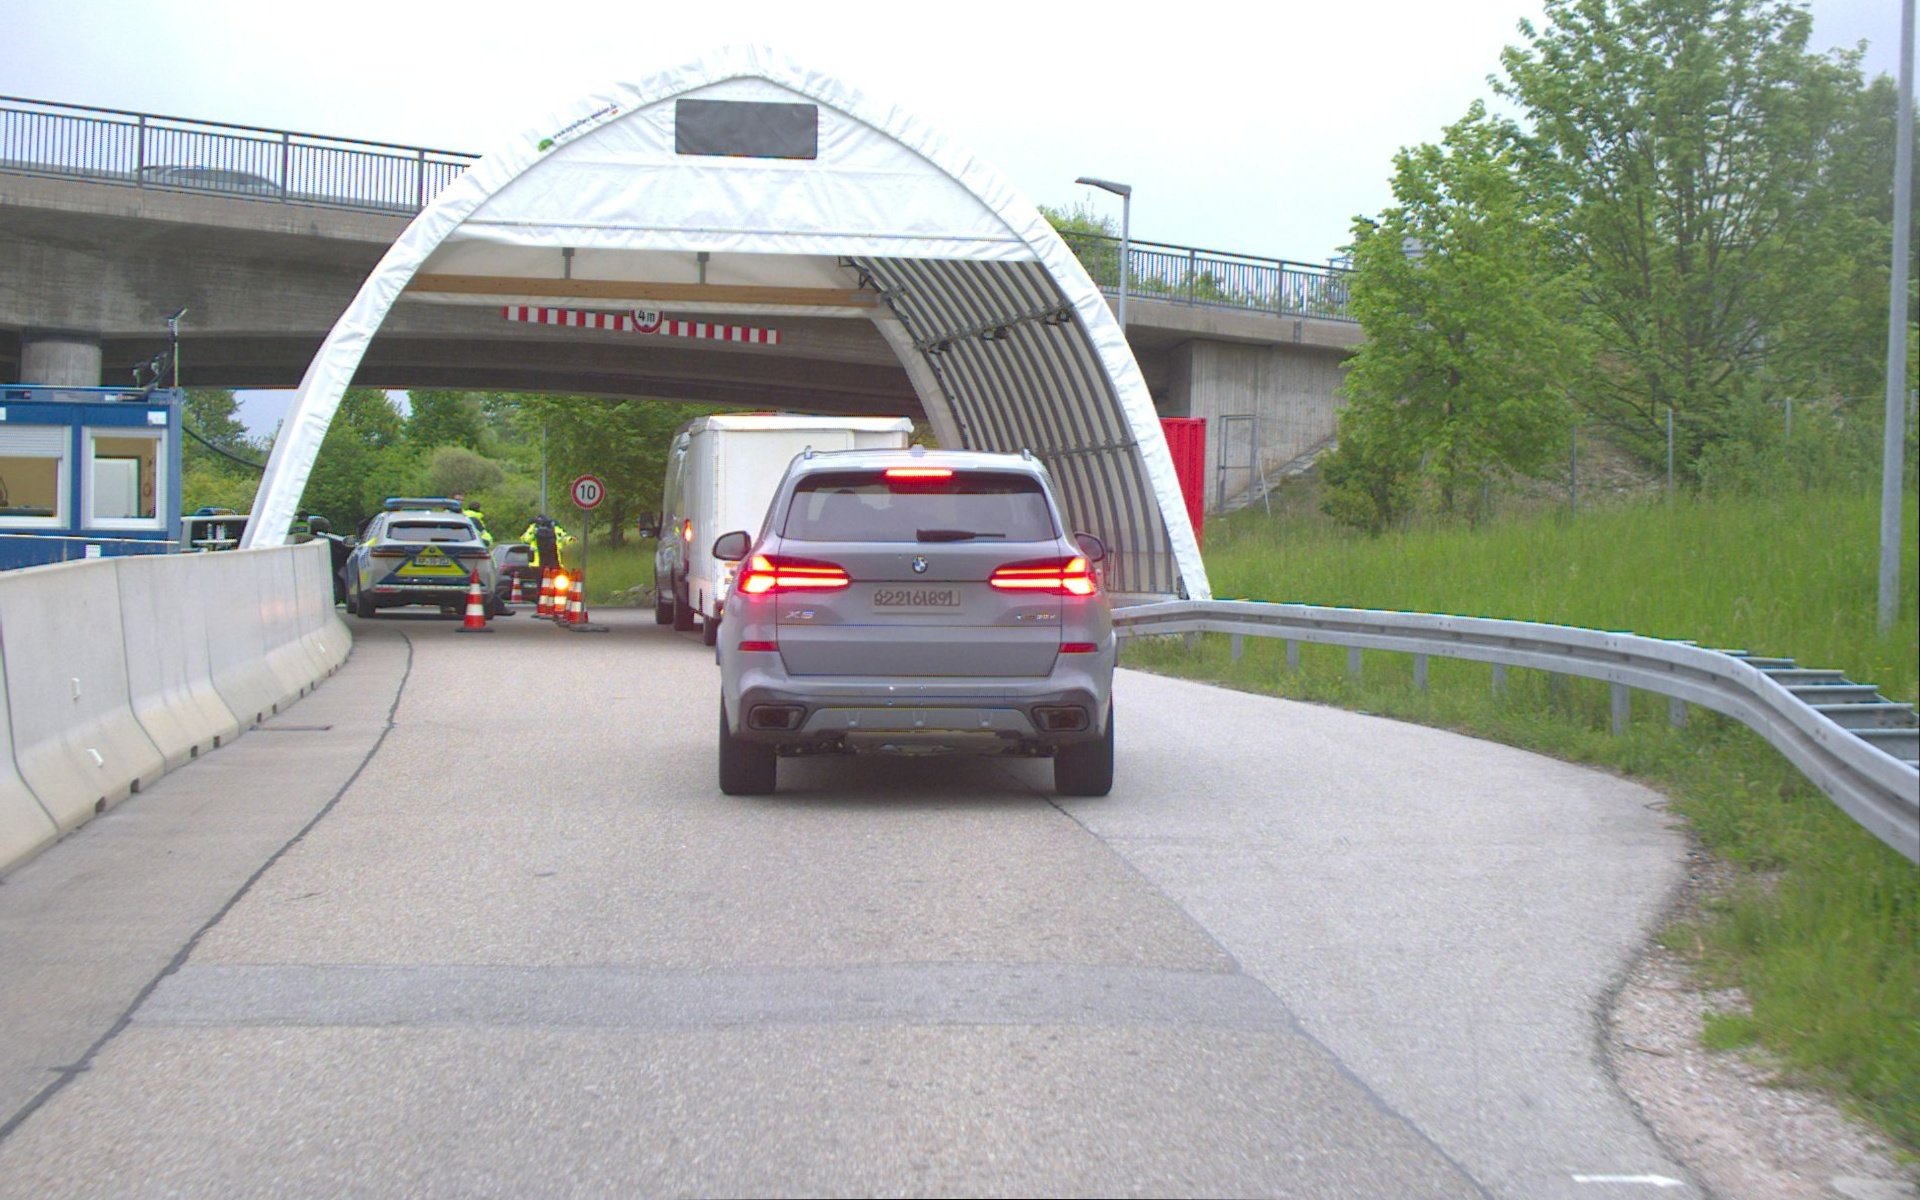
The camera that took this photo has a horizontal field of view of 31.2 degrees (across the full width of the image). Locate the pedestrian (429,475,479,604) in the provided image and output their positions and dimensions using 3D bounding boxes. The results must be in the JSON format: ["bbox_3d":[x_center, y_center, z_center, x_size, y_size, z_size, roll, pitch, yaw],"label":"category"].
[{"bbox_3d":[-7.697,-0.921,52.255,0.720,1.939,0.690,0,1,-11],"label":"pedestrian"}]

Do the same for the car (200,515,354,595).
[{"bbox_3d":[-12.681,-0.838,63.756,1.515,1.437,3.315,-1,1,-37],"label":"car"}]

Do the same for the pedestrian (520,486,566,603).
[{"bbox_3d":[-6.384,-0.847,52.608,0.648,1.769,0.606,0,1,-13],"label":"pedestrian"}]

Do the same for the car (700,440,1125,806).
[{"bbox_3d":[-0.235,0.088,18.229,1.993,1.714,4.000,0,1,0],"label":"car"}]

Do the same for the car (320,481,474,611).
[{"bbox_3d":[-8.021,-0.768,48.745,1.993,1.766,3.767,0,1,-12],"label":"car"}]

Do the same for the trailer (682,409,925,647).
[{"bbox_3d":[-1.872,-0.752,38.671,2.278,2.422,6.819,0,0,-6],"label":"trailer"}]

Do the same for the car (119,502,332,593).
[{"bbox_3d":[-15.226,-1.087,71.341,3.987,1.848,1.709,0,1,4],"label":"car"}]

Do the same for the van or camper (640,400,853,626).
[{"bbox_3d":[-2.882,-1.077,44.990,2.156,2.754,5.873,0,0,-10],"label":"van or camper"}]

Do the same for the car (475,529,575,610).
[{"bbox_3d":[-10.288,-0.745,81.069,1.703,1.848,4.001,-1,1,-17],"label":"car"}]

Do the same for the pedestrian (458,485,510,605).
[{"bbox_3d":[-7.099,-0.822,51.260,0.720,1.769,0.690,0,1,-11],"label":"pedestrian"}]
